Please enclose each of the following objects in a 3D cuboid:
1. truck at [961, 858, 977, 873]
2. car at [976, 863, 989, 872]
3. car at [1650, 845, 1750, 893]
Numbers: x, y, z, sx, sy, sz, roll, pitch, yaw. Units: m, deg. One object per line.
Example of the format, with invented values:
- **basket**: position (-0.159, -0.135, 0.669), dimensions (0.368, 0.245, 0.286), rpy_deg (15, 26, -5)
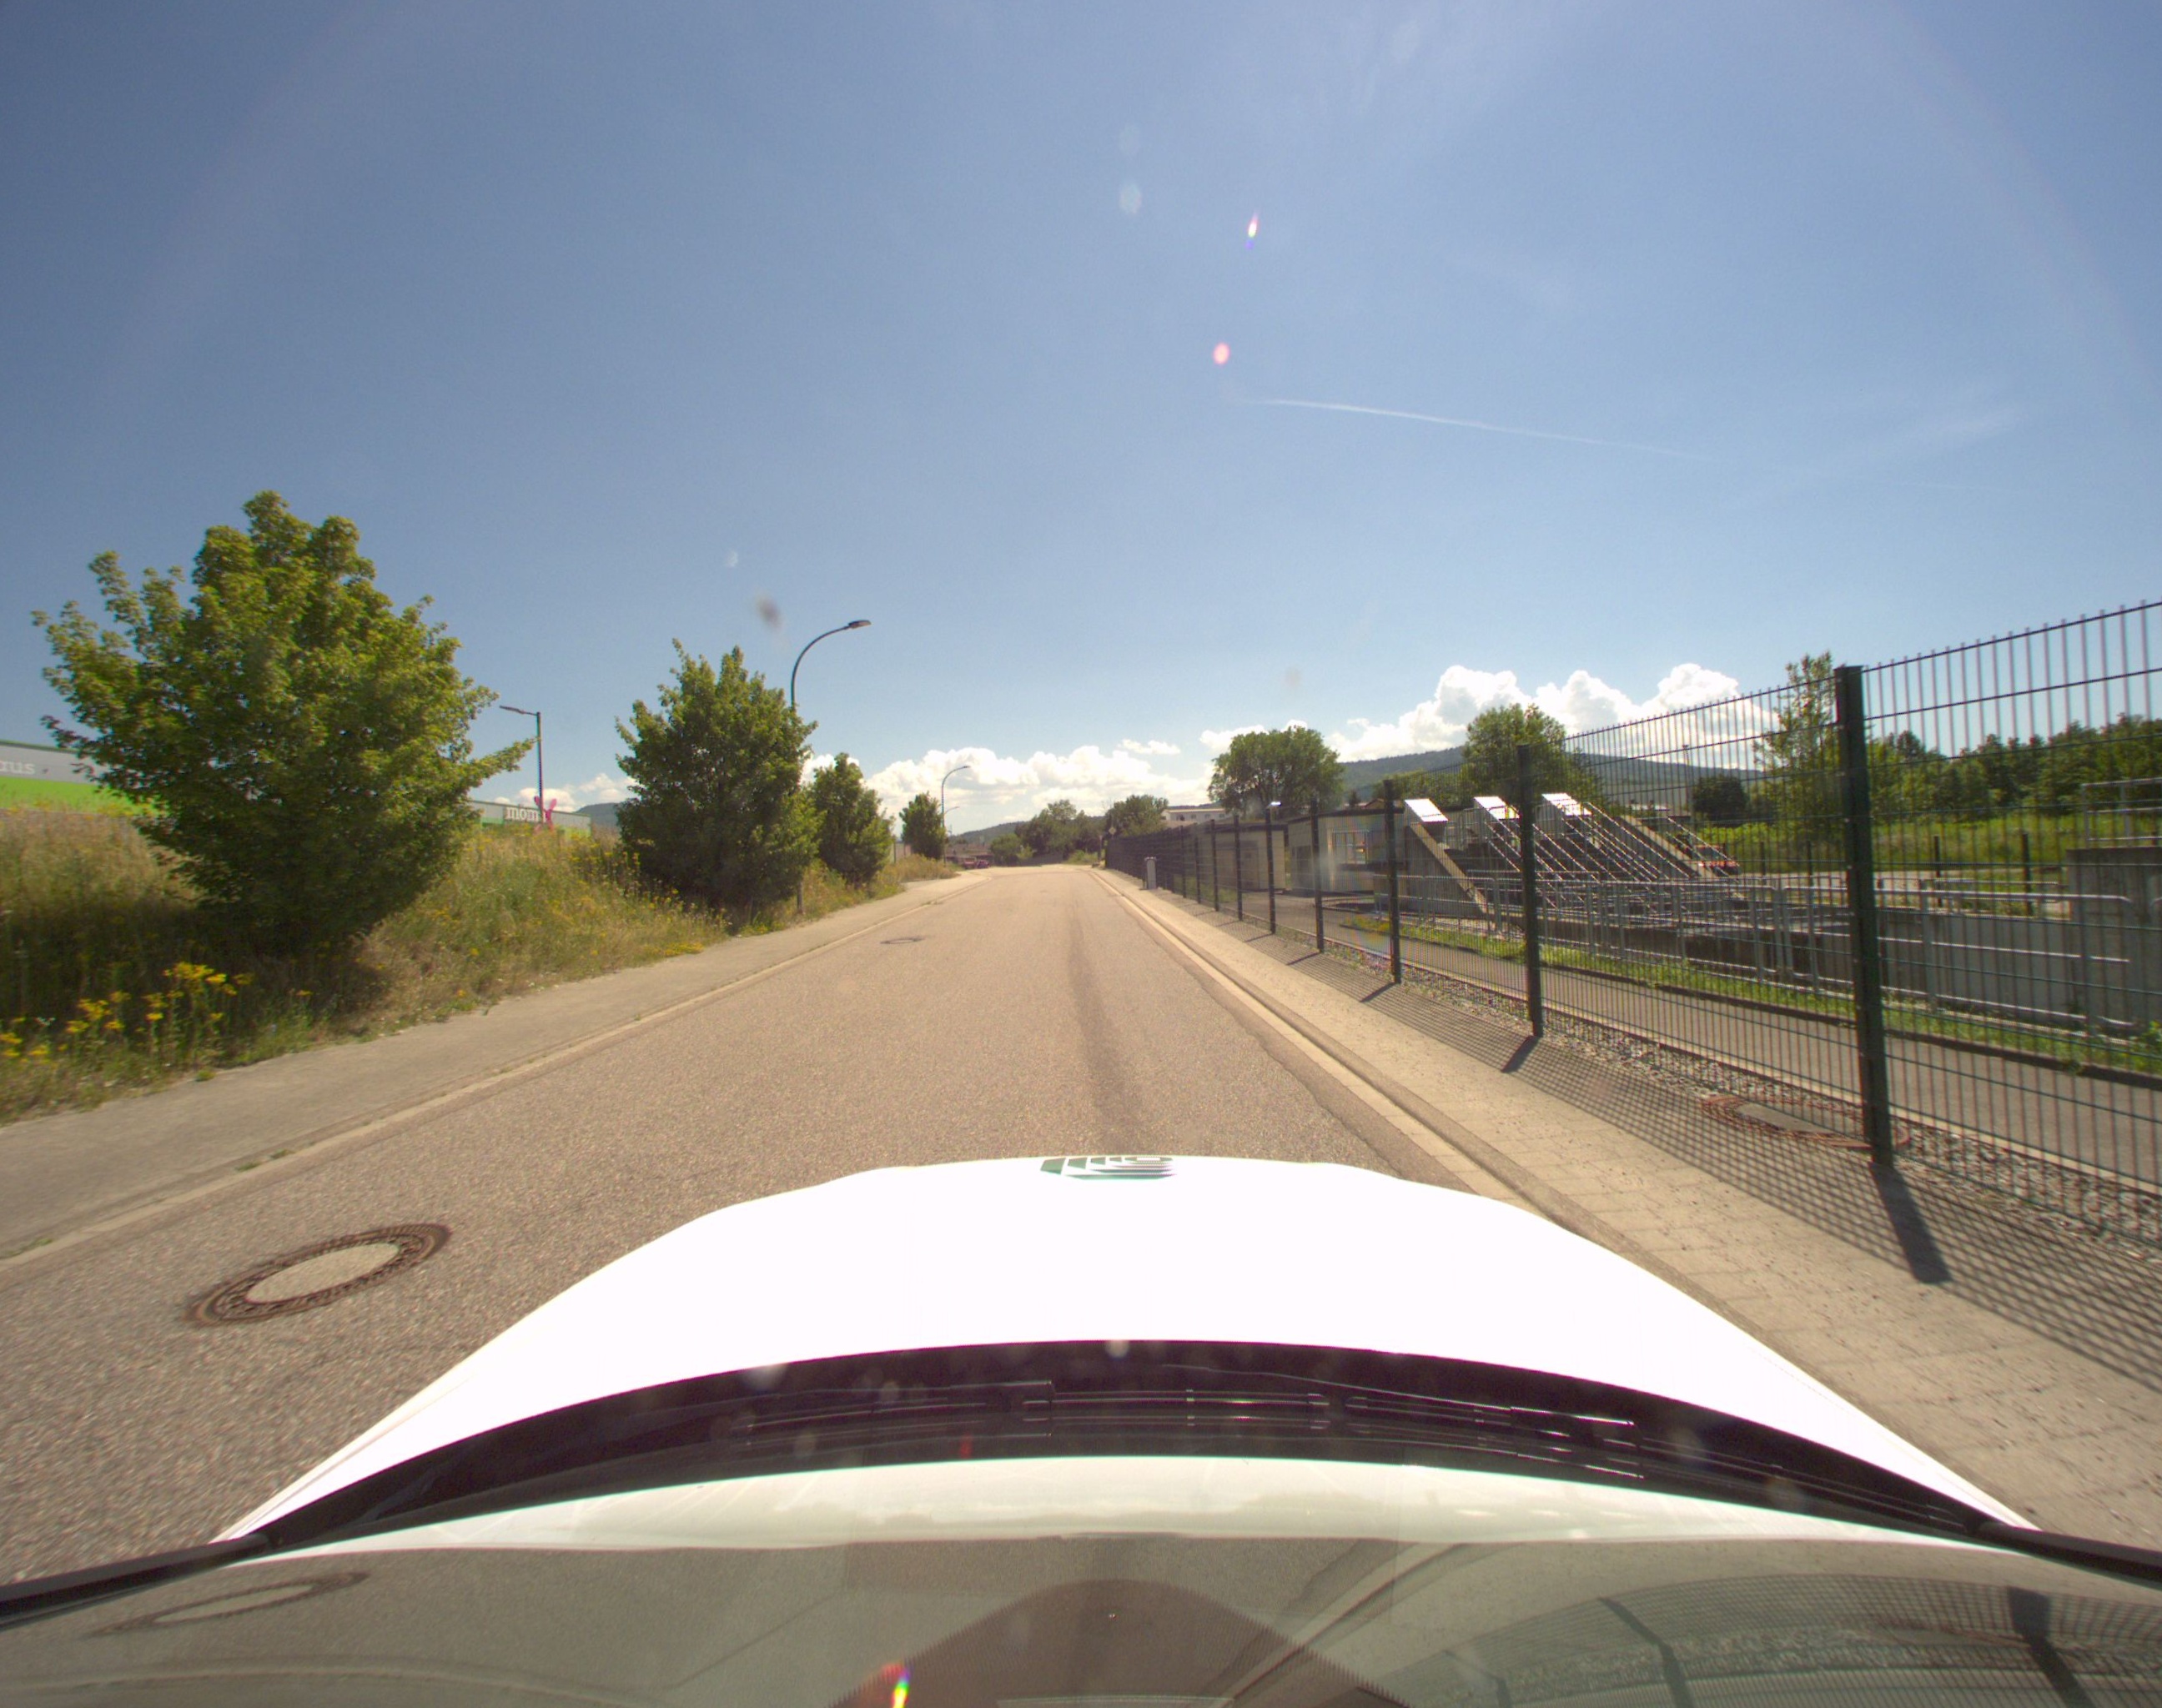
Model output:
- **truck**: position (-21.425, 2.122, 155.718), dimensions (2.685, 2.772, 6.065), rpy_deg (-1, 0, -12)
- **car**: position (-15.627, 2.143, 129.611), dimensions (1.777, 1.448, 3.438), rpy_deg (-1, 0, -12)
- **car**: position (28.081, 0.607, 37.161), dimensions (1.978, 2.020, 4.943), rpy_deg (-1, 0, 17)
